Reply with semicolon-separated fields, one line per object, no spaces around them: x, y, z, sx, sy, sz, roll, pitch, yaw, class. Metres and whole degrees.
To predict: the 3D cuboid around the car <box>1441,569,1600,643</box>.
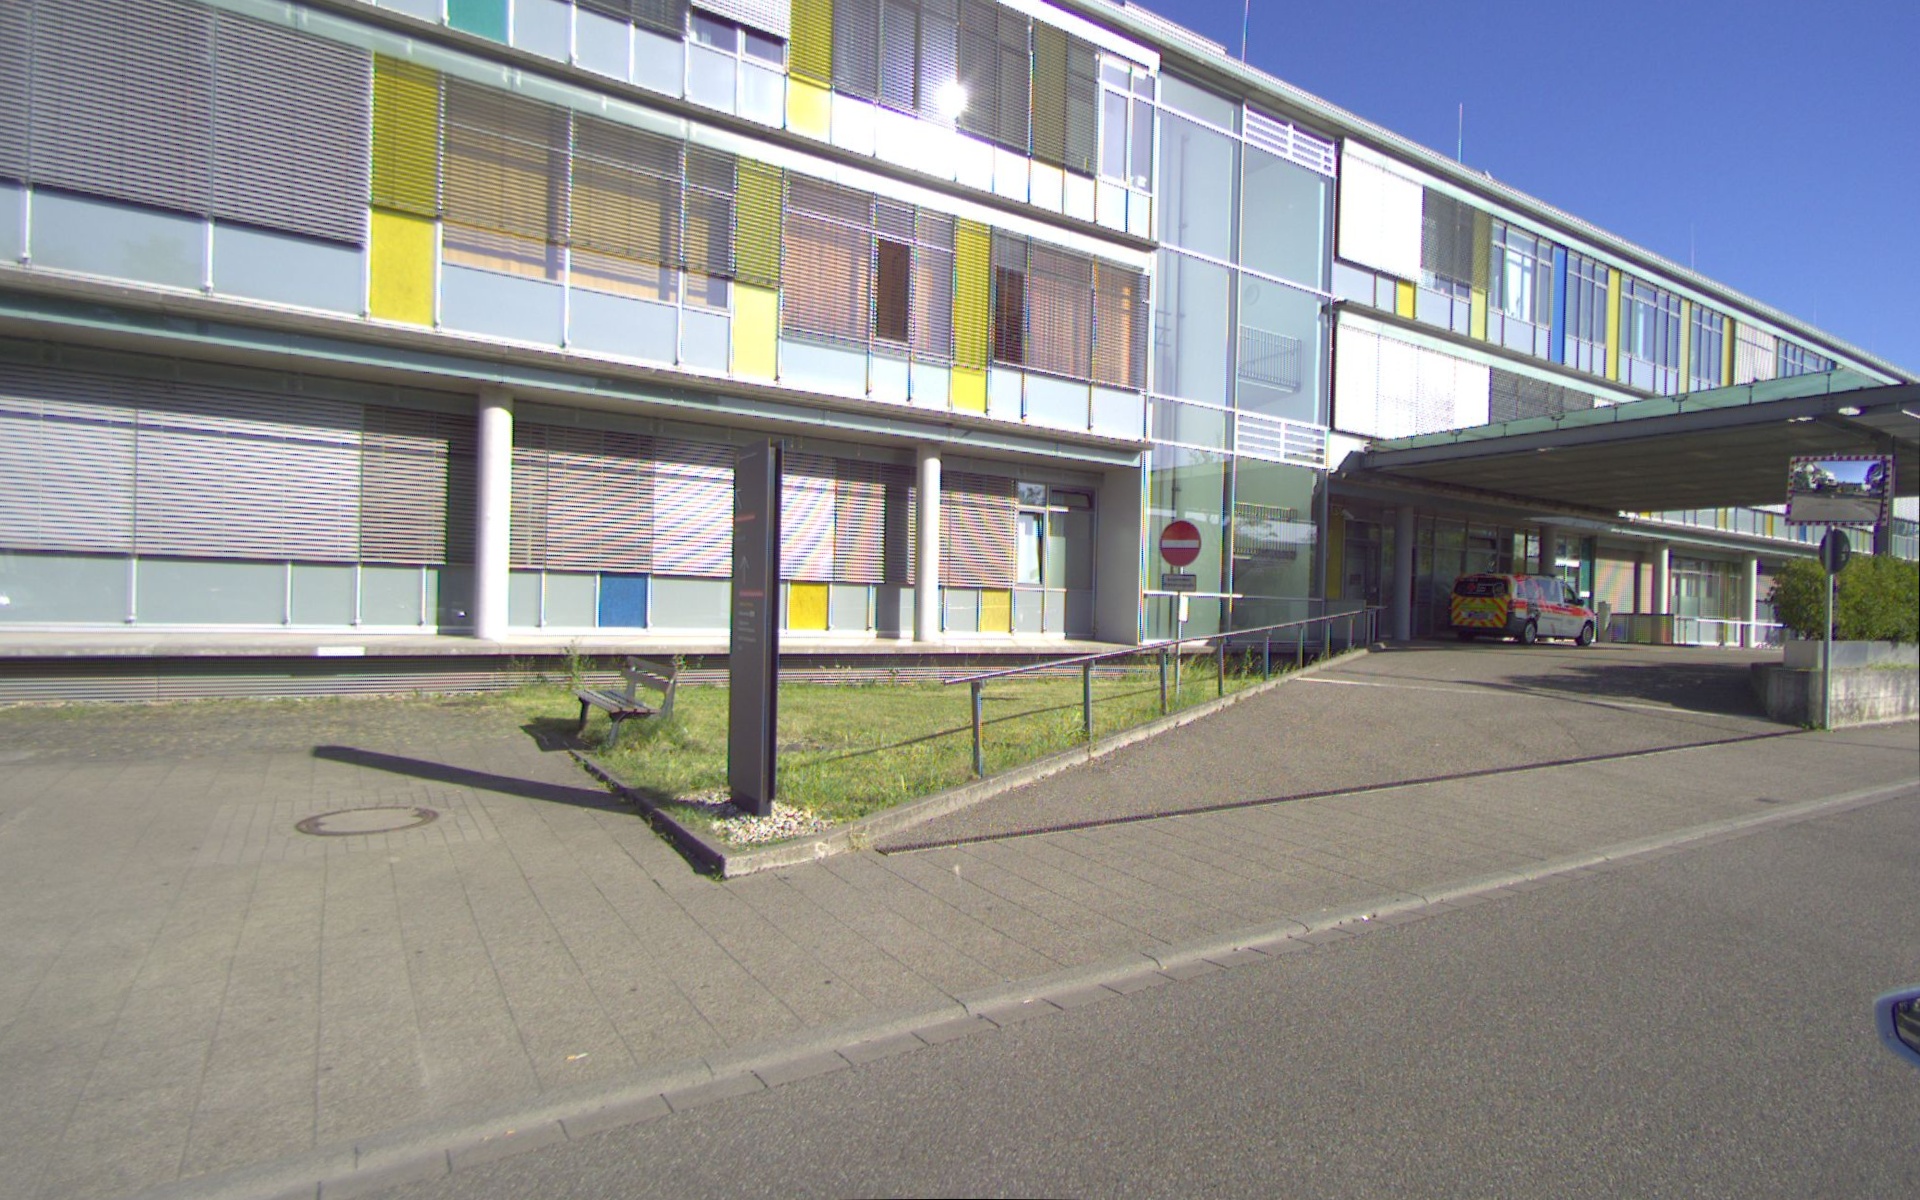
15.599;0.194;27.896;4.661;1.916;1.908;1;0;-33;car
